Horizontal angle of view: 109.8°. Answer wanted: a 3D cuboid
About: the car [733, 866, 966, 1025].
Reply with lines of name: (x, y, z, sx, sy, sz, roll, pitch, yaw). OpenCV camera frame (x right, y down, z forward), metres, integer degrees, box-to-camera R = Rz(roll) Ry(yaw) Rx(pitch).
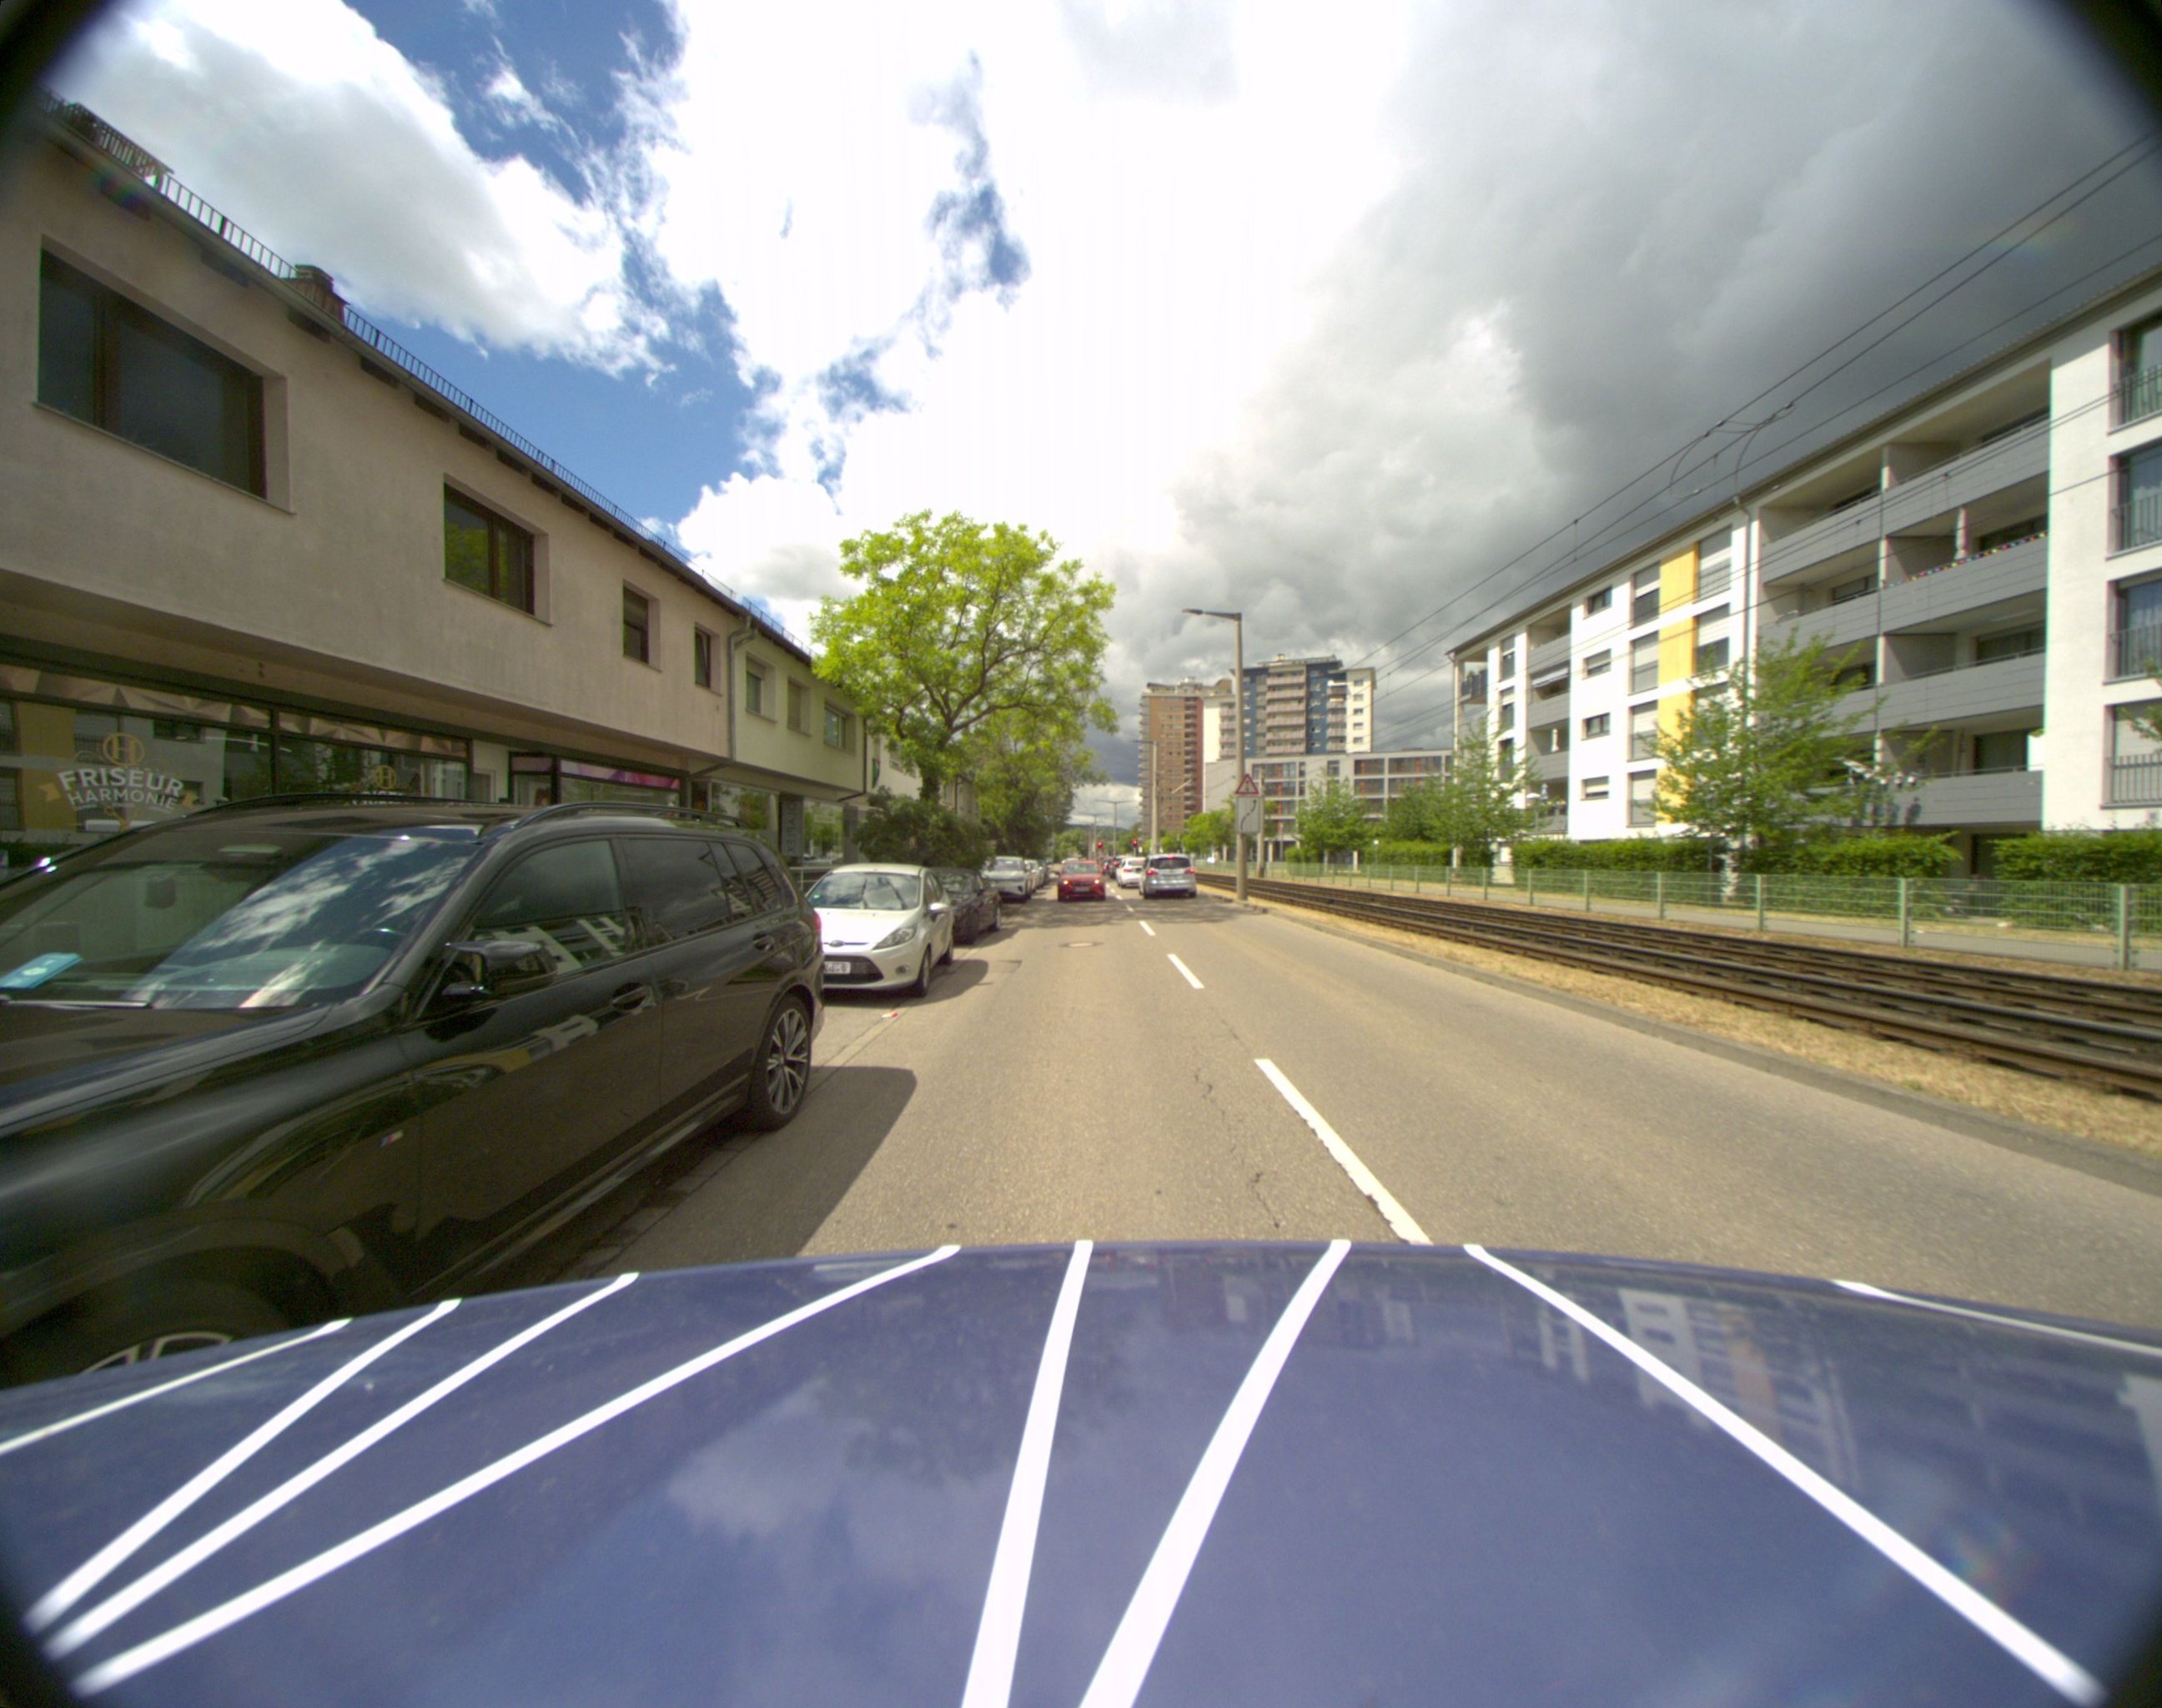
car: (-2.604, 0.950, 9.530, 1.776, 1.434, 3.898, 2, 0, -2)

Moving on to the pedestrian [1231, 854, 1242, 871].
pedestrian: (14.693, 0.798, 71.850, 0.756, 1.603, 0.938, -1, 1, -1)

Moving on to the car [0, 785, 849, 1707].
car: (-2.713, 0.759, 2.788, 2.020, 1.778, 5.076, 0, 0, 2)

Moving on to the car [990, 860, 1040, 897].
car: (-2.789, 1.013, 33.029, 1.729, 1.418, 4.446, 0, 0, 1)

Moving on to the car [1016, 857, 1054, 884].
car: (-2.633, 0.948, 44.362, 1.818, 1.455, 4.041, 0, 0, 2)

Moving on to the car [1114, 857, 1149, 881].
car: (3.013, 0.871, 45.983, 1.751, 1.398, 3.939, 0, 0, -2)

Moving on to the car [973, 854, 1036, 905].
car: (-2.679, 0.844, 27.427, 1.842, 1.634, 4.429, -1, 0, 0)

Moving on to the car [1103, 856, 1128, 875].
car: (2.805, 0.904, 62.188, 1.815, 1.437, 4.465, 0, 0, 0)

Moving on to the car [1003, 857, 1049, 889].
car: (-2.743, 0.943, 38.948, 1.818, 1.490, 4.911, 0, 0, 2)

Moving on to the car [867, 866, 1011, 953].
car: (-2.623, 0.983, 14.999, 1.775, 1.341, 4.001, 2, 0, 4)

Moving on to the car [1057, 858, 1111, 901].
car: (0.134, 0.890, 28.253, 1.792, 1.387, 4.241, -2, 0, 1)

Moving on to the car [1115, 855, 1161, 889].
car: (2.764, 0.842, 37.933, 1.822, 1.494, 4.836, -2, 0, -1)

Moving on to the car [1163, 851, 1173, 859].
car: (18.383, 0.103, 160.603, 1.781, 1.650, 3.803, -1, 0, -1)

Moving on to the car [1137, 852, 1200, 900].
car: (3.198, 0.761, 28.535, 1.822, 1.604, 4.601, -2, 0, 0)

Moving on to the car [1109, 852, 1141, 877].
car: (3.076, 0.735, 53.647, 1.862, 1.680, 4.432, 0, 0, -2)

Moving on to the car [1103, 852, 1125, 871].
car: (2.961, 0.614, 68.587, 1.862, 1.650, 4.176, 0, 0, 2)

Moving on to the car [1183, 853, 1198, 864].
car: (16.504, 0.640, 115.003, 1.893, 1.613, 3.804, -1, 0, 3)
